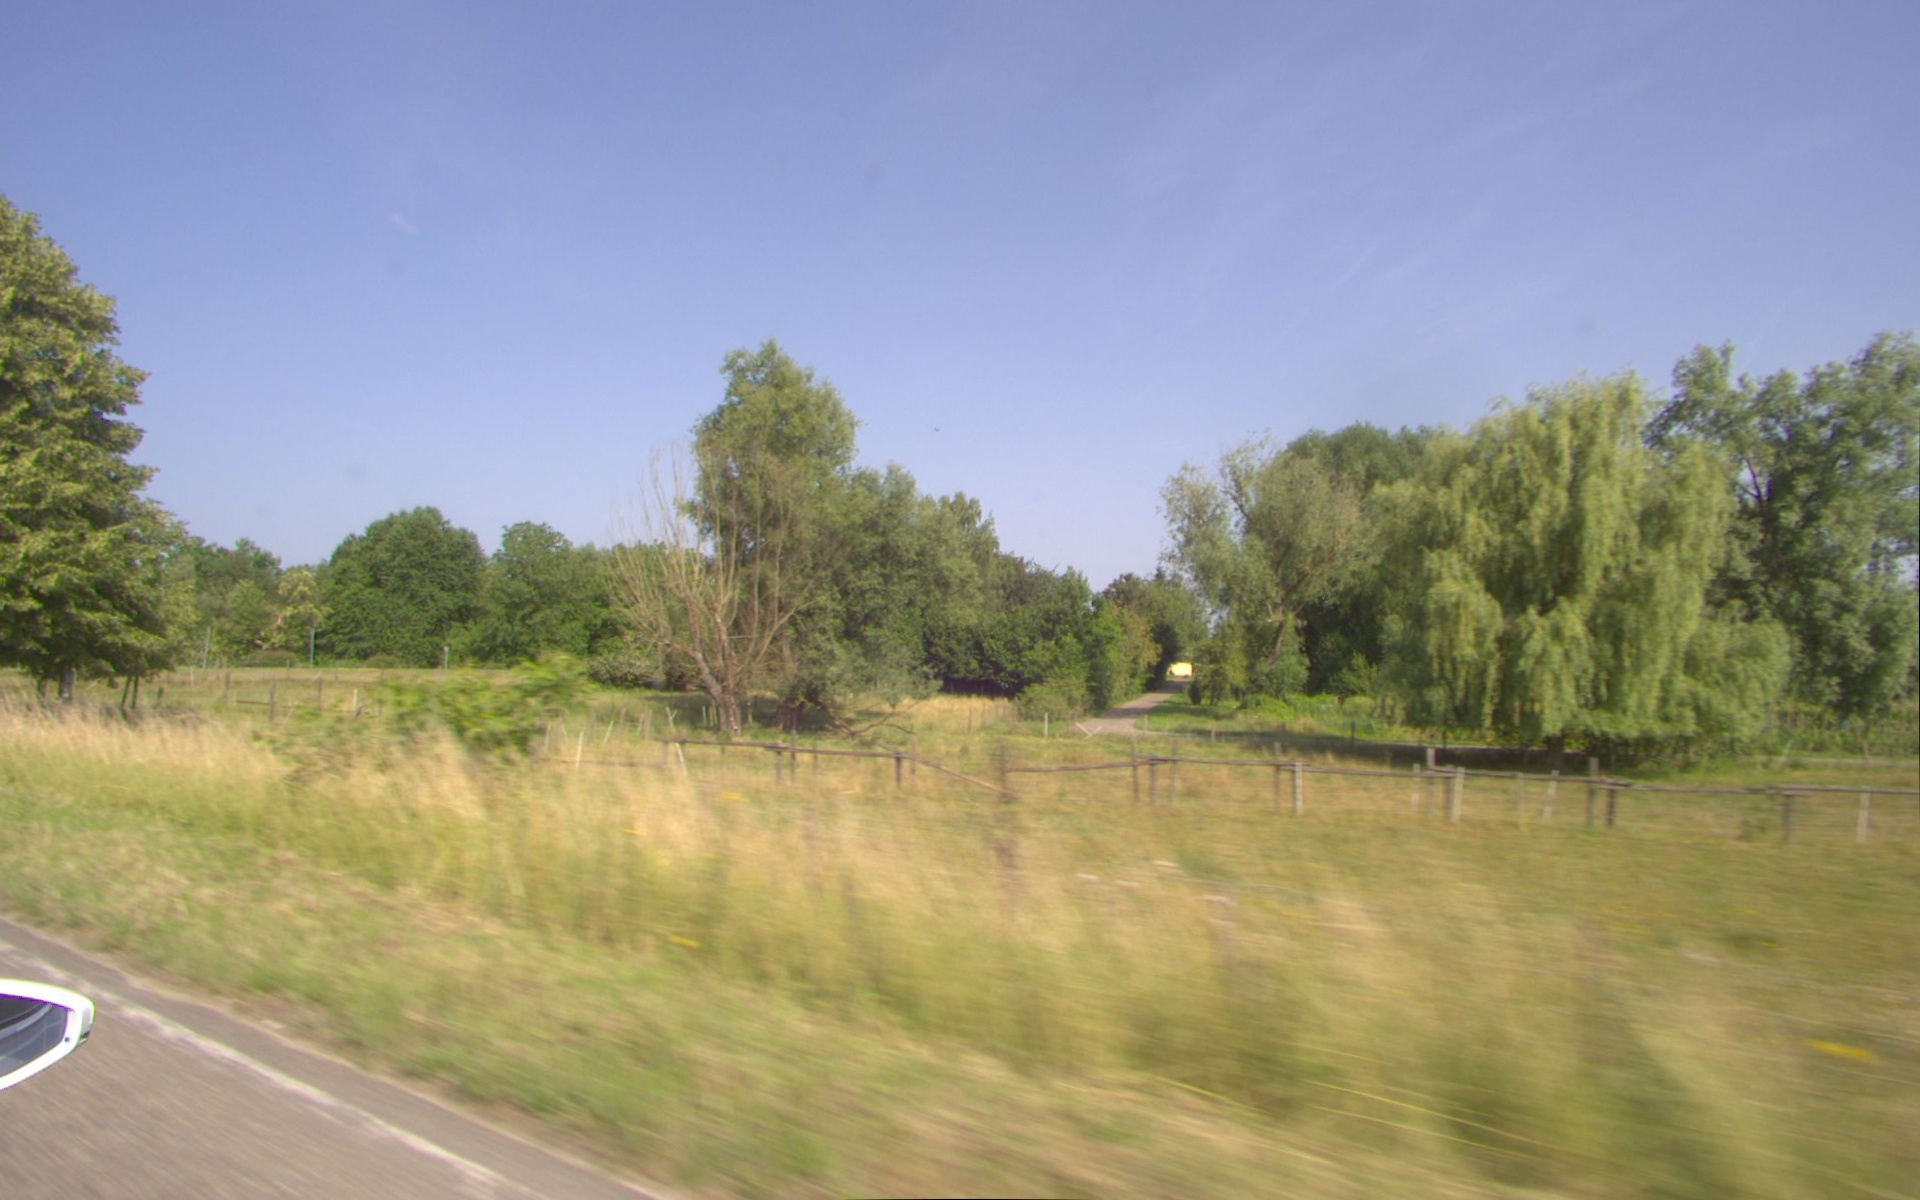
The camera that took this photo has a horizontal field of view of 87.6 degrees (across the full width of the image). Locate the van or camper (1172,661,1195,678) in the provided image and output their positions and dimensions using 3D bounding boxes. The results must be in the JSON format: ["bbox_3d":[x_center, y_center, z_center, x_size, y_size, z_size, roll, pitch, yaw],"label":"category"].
[{"bbox_3d":[44.712,13.978,200.396,4.434,3.143,2.002,1,-4,11],"label":"van or camper"}]
